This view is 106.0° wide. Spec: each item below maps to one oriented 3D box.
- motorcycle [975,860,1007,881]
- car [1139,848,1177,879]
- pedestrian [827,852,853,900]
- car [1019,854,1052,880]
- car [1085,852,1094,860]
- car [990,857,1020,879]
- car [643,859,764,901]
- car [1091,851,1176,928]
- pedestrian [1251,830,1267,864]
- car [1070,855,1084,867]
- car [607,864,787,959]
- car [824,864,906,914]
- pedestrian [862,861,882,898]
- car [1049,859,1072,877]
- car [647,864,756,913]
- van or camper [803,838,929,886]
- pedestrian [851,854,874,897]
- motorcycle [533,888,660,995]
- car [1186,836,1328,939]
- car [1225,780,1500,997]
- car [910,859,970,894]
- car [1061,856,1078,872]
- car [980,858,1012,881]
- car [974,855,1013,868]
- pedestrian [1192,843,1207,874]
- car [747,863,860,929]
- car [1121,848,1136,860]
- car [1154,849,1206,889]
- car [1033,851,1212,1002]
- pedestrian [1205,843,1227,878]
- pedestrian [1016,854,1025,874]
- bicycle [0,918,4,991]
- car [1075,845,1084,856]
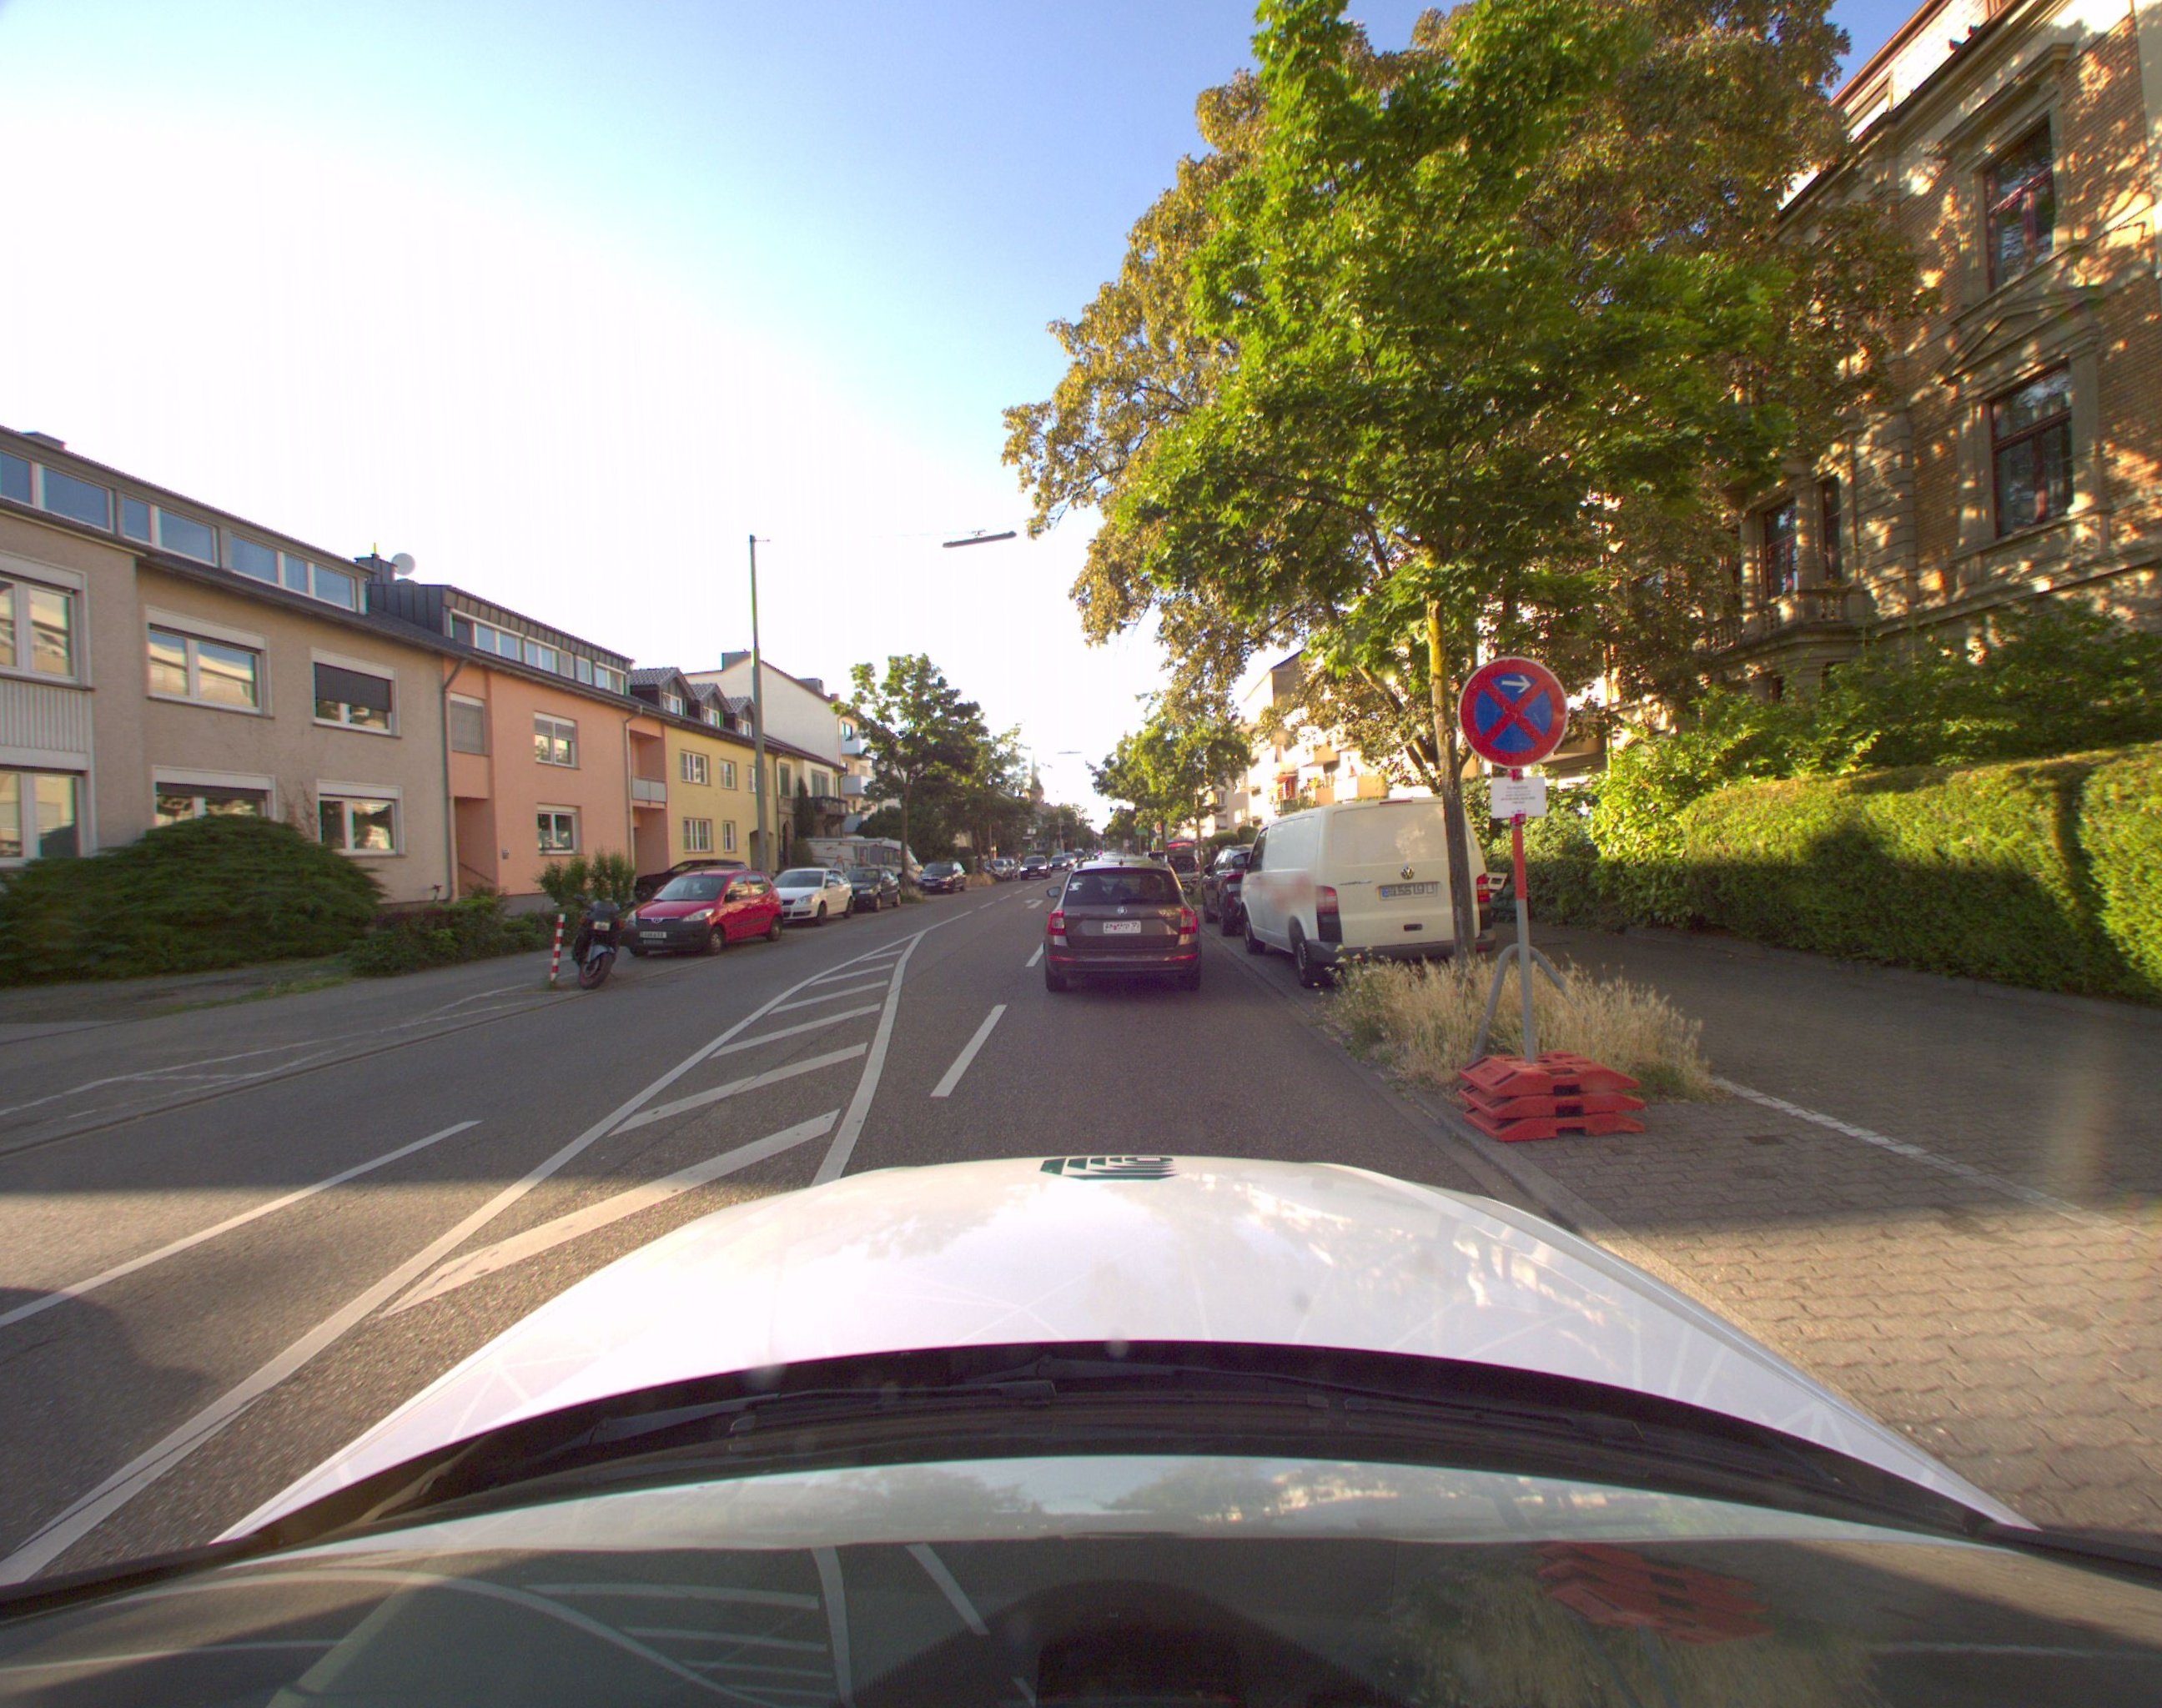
[{"bbox_3d":[-5.736,1.053,51.629,2.028,1.265,0.772,-3,0,40],"label":"motorcycle"},{"bbox_3d":[4.377,0.532,46.702,1.849,1.581,4.015,-4,0,1],"label":"car"},{"bbox_3d":[-9.169,0.837,30.995,0.710,1.792,0.506,-3,0,4],"label":"pedestrian"},{"bbox_3d":[-3.057,0.850,55.524,1.829,1.570,4.001,-4,-1,1],"label":"car"},{"bbox_3d":[2.039,0.465,189.483,1.823,1.579,4.002,-3,0,2],"label":"car"},{"bbox_3d":[-5.559,1.005,59.969,1.642,1.517,4.076,-1,0,2],"label":"car"},{"bbox_3d":[-15.117,1.022,32.717,3.971,1.636,1.867,0,0,2],"label":"car"},{"bbox_3d":[1.179,0.725,18.784,1.730,1.571,4.003,0,0,3],"label":"car"},{"bbox_3d":[8.839,-0.340,40.447,0.475,1.640,0.533,-2,0,-17],"label":"pedestrian"},{"bbox_3d":[-0.641,1.129,135.505,1.986,1.908,4.965,-4,0,2],"label":"car"},{"bbox_3d":[-7.215,1.005,15.693,1.585,1.523,3.441,-2,0,5],"label":"car"},{"bbox_3d":[-6.970,1.090,26.628,1.537,1.396,3.667,-2,0,2],"label":"car"},{"bbox_3d":[-8.548,1.040,33.281,0.587,1.496,0.543,-3,0,4],"label":"pedestrian"},{"bbox_3d":[-1.937,1.334,77.895,1.754,1.452,4.536,-4,0,2],"label":"car"},{"bbox_3d":[-12.678,1.102,27.479,1.658,1.409,3.756,-3,0,3],"label":"car"},{"bbox_3d":[-12.550,0.460,47.889,6.774,2.773,2.352,0,0,0],"label":"van or camper"},{"bbox_3d":[-9.175,0.897,34.266,0.710,1.792,0.572,-3,0,4],"label":"pedestrian"},{"bbox_3d":[-6.960,1.189,11.873,1.184,1.266,2.352,-3,0,-22],"label":"motorcycle"},{"bbox_3d":[3.258,0.563,15.947,1.849,1.603,4.313,-5,0,1],"label":"car"},{"bbox_3d":[3.234,0.344,10.484,1.897,2.103,4.640,-2,0,0],"label":"car"},{"bbox_3d":[-6.585,1.023,38.402,1.860,1.494,4.520,-1,0,2],"label":"car"},{"bbox_3d":[-1.363,1.176,99.138,1.799,1.804,4.747,-4,0,2],"label":"car"},{"bbox_3d":[-5.729,1.035,55.340,1.587,1.470,3.805,0,0,2],"label":"car"},{"bbox_3d":[-11.015,0.934,102.253,4.617,1.535,1.862,-1,0,1],"label":"car"},{"bbox_3d":[6.697,0.248,46.226,0.660,1.749,0.773,-4,0,3],"label":"pedestrian"},{"bbox_3d":[-7.305,1.045,21.863,1.587,1.523,3.891,-2,0,1],"label":"car"},{"bbox_3d":[7.114,0.034,121.721,1.984,1.772,4.005,0,0,5],"label":"car"},{"bbox_3d":[4.106,0.595,34.287,1.702,1.480,4.270,-4,0,2],"label":"car"},{"bbox_3d":[0.480,0.727,10.348,1.766,1.489,4.312,-1,0,1],"label":"car"},{"bbox_3d":[6.446,0.311,38.868,0.748,1.640,0.700,-3,0,38],"label":"pedestrian"},{"bbox_3d":[-6.003,0.988,80.958,0.777,1.987,0.821,-3,0,2],"label":"pedestrian"},{"bbox_3d":[-16.436,1.521,11.410,0.331,1.086,1.711,-3,0,2],"label":"bicycle"},{"bbox_3d":[-0.326,-0.802,194.445,1.986,2.478,4.002,-2,0,2],"label":"car"}]
